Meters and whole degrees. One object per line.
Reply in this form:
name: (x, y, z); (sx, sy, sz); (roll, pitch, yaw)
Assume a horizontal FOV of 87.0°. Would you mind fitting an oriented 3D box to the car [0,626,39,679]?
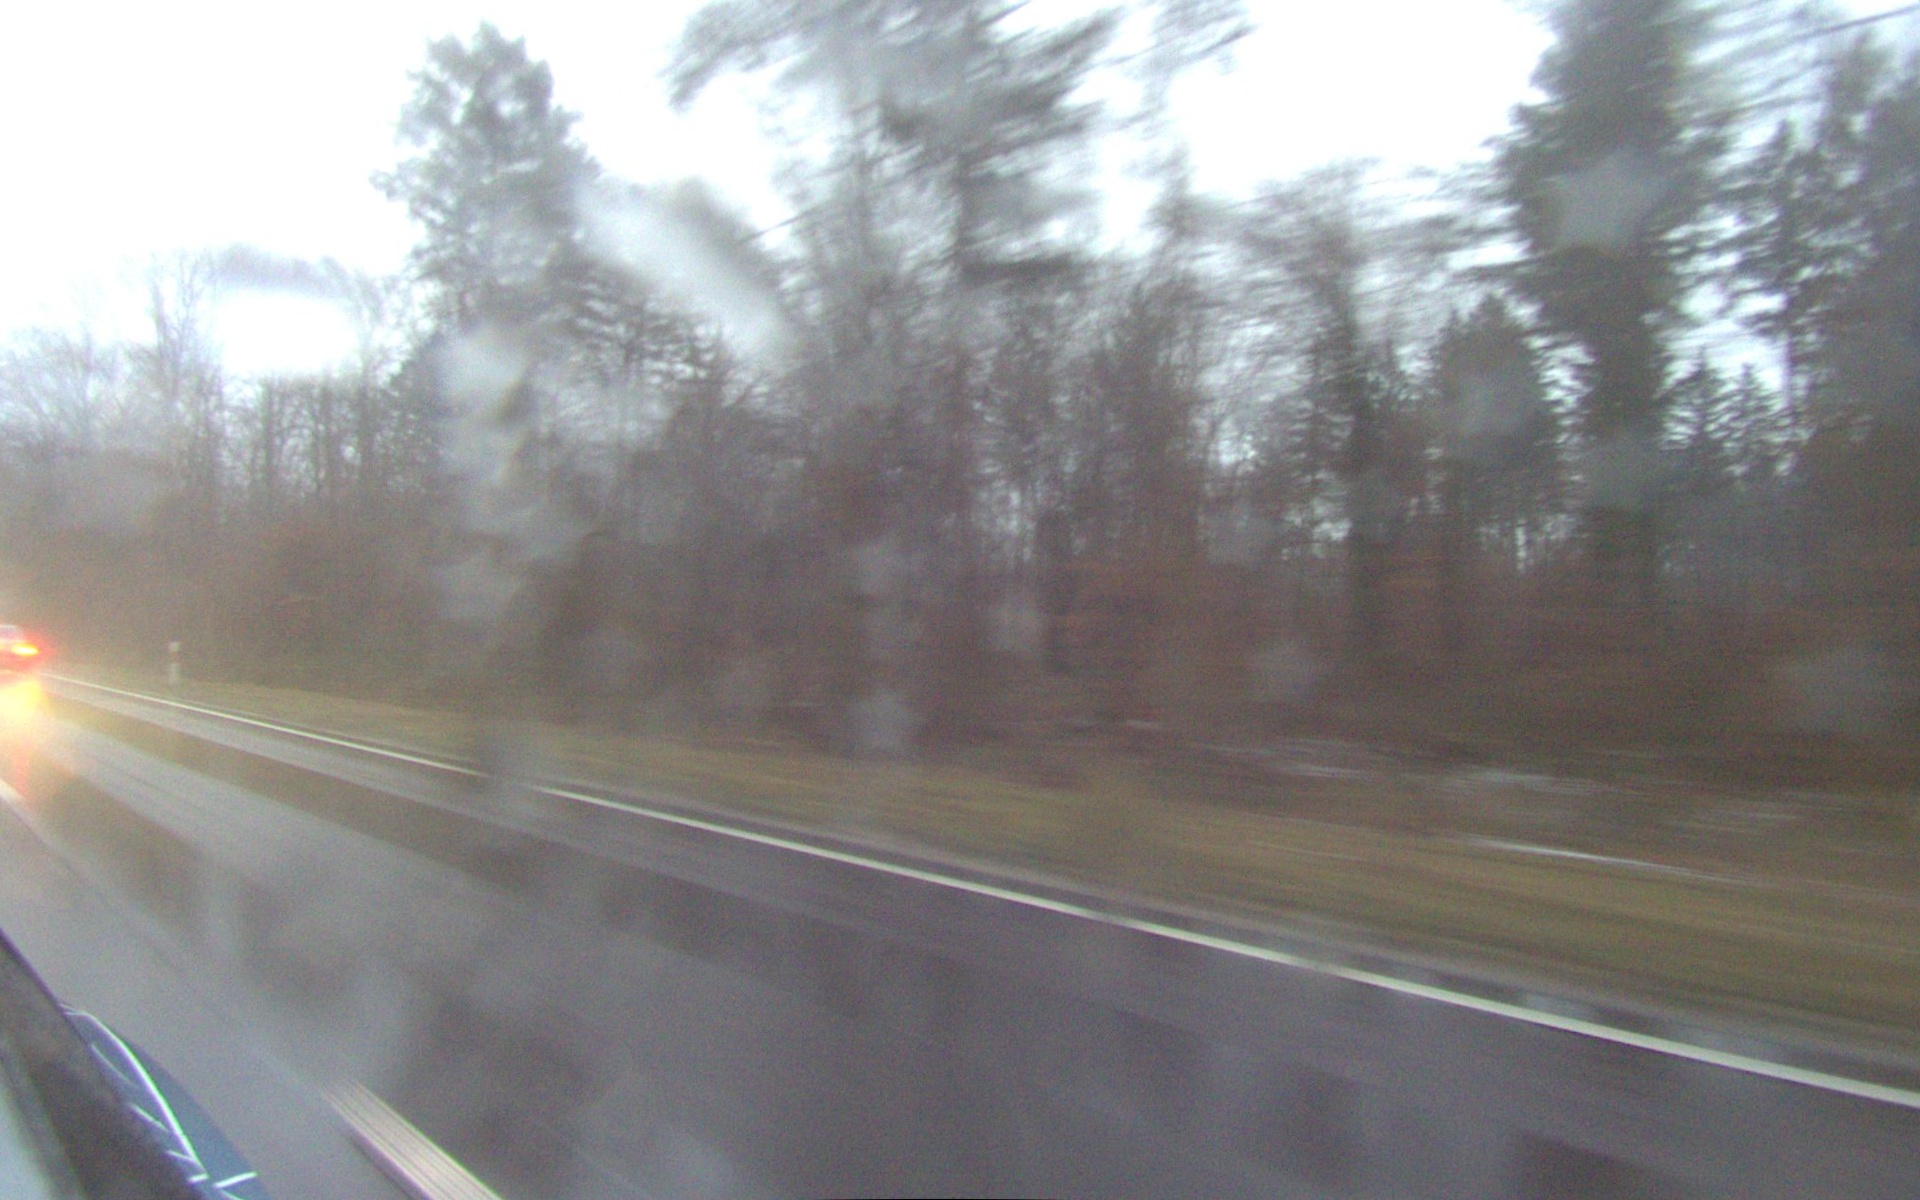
car: (-26.547, 1.400, 27.446); (4.372, 1.374, 1.686); (-2, -4, 40)
